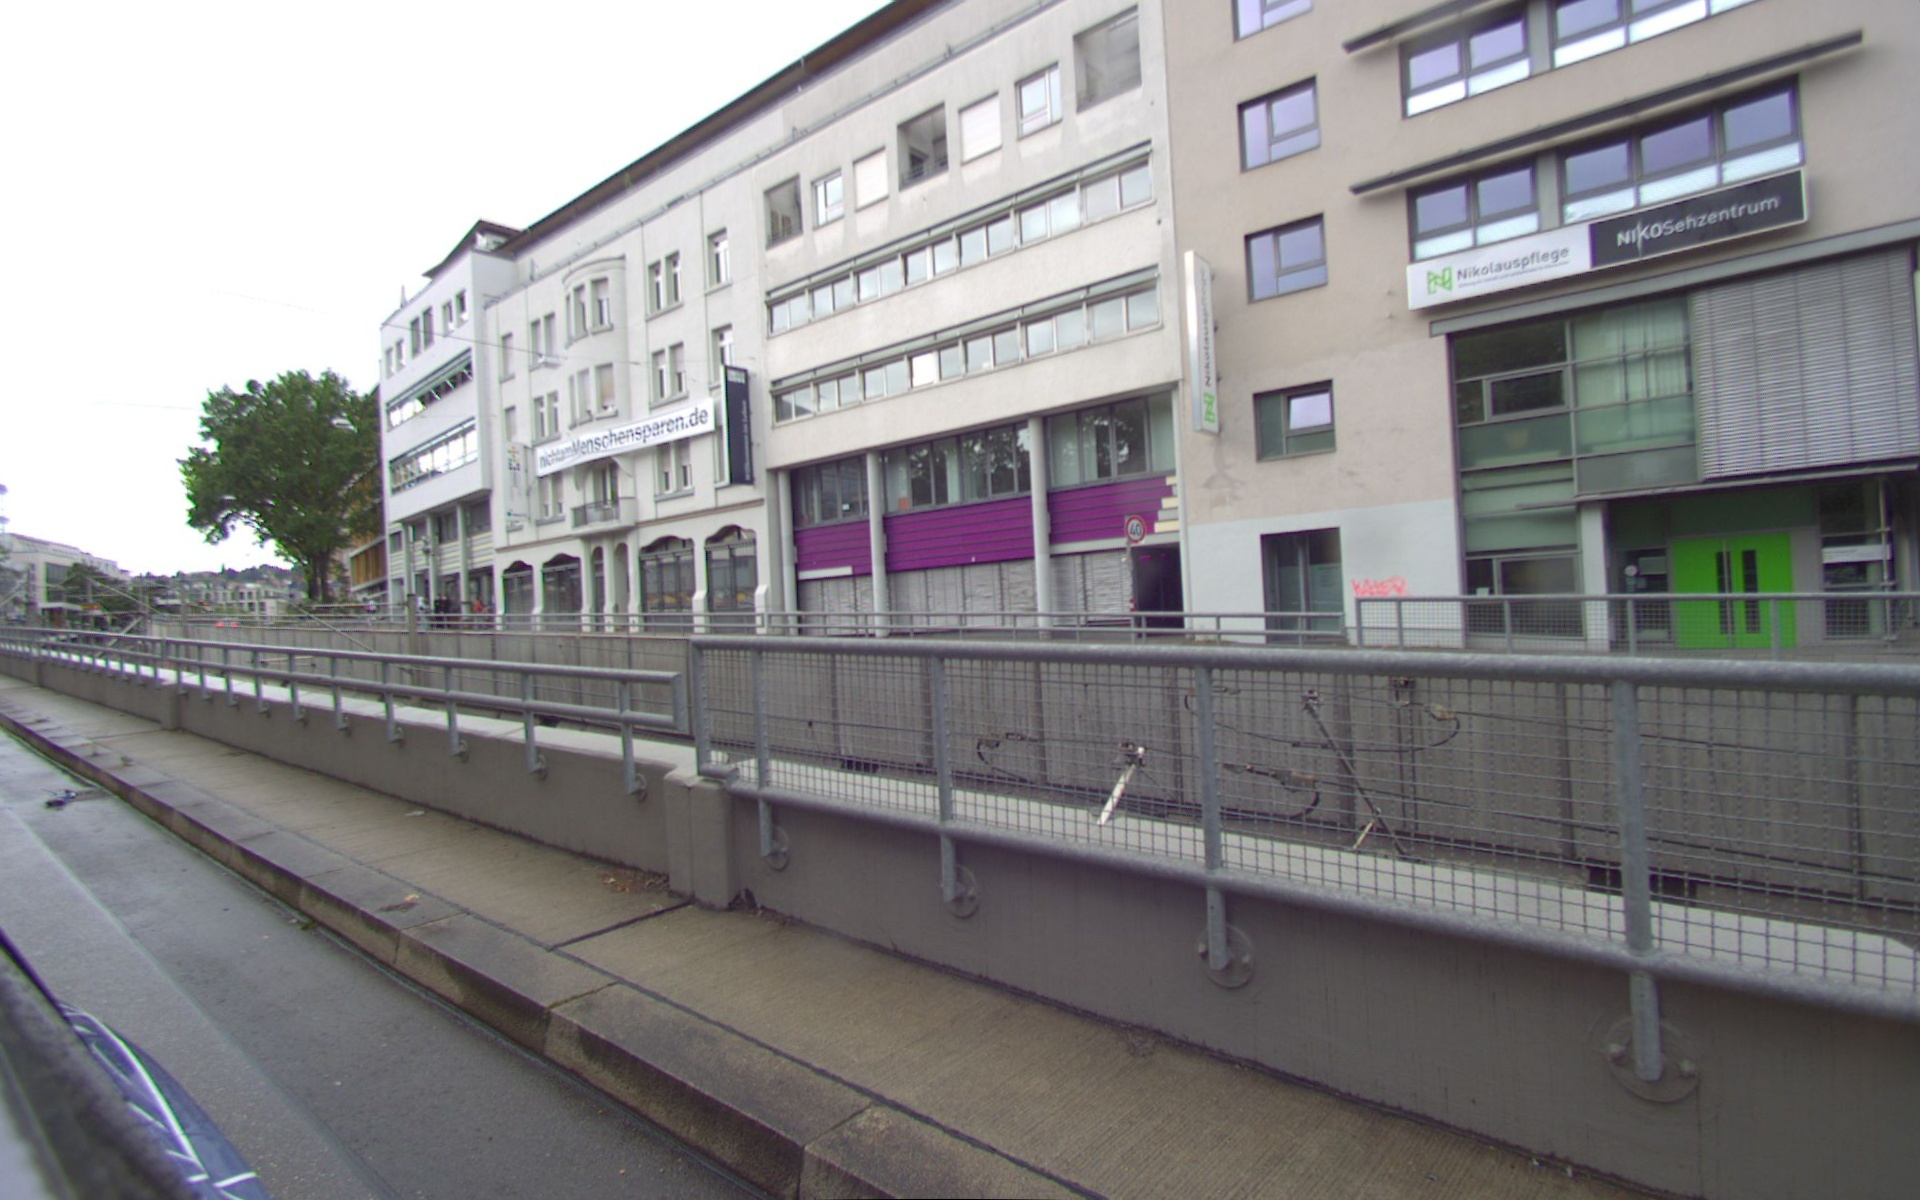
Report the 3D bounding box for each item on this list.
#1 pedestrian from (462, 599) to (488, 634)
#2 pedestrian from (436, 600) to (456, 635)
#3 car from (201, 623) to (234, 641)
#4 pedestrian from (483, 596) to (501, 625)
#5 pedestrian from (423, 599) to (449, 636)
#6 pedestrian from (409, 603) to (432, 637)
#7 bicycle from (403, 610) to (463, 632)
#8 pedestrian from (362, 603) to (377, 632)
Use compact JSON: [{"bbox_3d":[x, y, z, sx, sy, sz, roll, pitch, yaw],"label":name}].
[{"bbox_3d":[-23.248,0.801,48.542,0.937,1.628,0.668,-2,0,27],"label":"pedestrian"},{"bbox_3d":[-25.614,0.865,50.407,0.601,1.735,0.673,-2,0,1],"label":"pedestrian"},{"bbox_3d":[-74.693,3.215,101.774,4.577,1.726,1.816,-2,-1,43],"label":"car"},{"bbox_3d":[-23.977,0.535,51.823,0.600,1.430,0.674,-2,0,-44],"label":"pedestrian"},{"bbox_3d":[-26.514,0.880,51.205,0.937,1.798,0.668,-2,0,27],"label":"pedestrian"},{"bbox_3d":[-26.637,0.996,49.977,0.784,1.655,0.674,-2,0,-2],"label":"pedestrian"},{"bbox_3d":[-29.002,1.139,55.616,1.673,1.051,4.525,-3,3,-45],"label":"bicycle"},{"bbox_3d":[-38.295,1.167,65.634,0.657,1.863,0.831,1,-2,-40],"label":"pedestrian"}]
